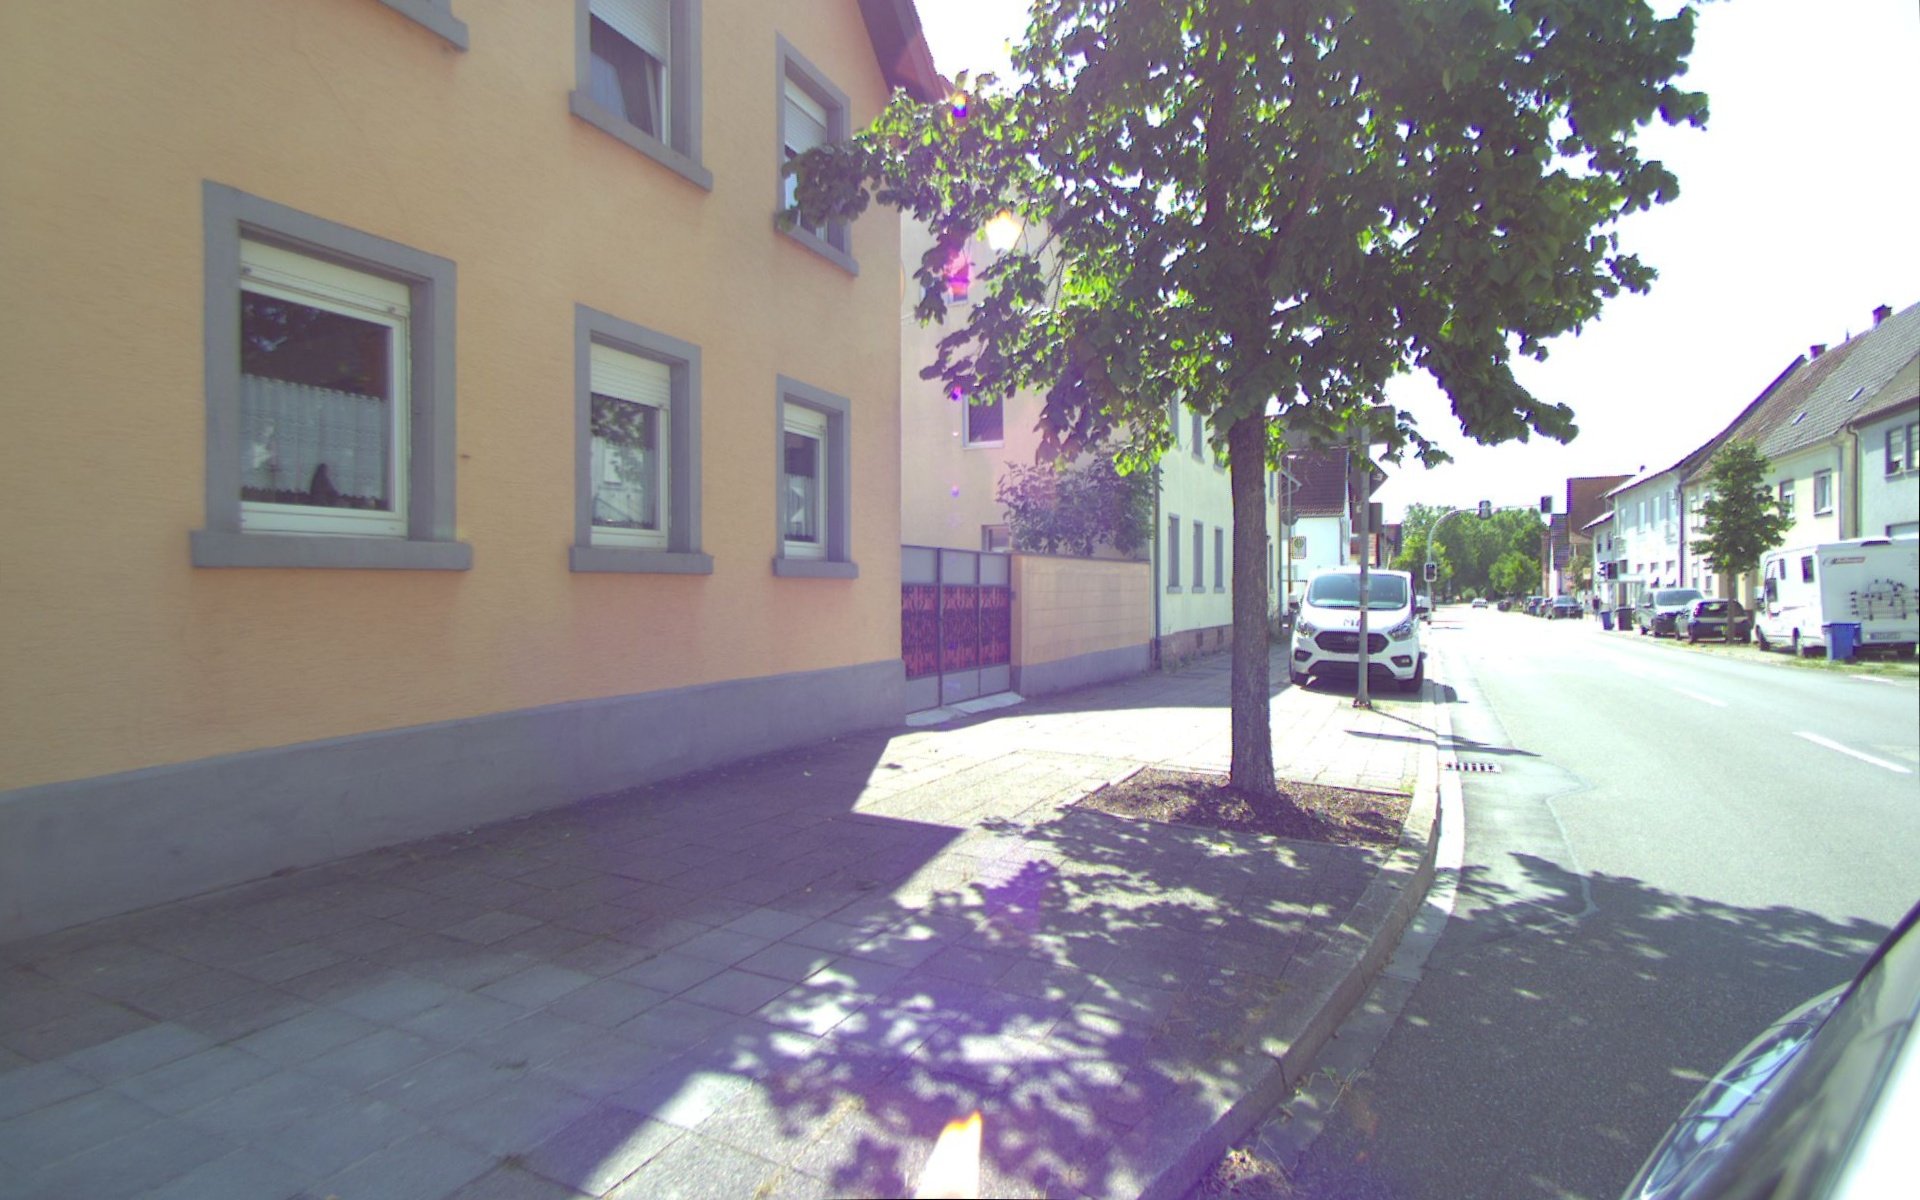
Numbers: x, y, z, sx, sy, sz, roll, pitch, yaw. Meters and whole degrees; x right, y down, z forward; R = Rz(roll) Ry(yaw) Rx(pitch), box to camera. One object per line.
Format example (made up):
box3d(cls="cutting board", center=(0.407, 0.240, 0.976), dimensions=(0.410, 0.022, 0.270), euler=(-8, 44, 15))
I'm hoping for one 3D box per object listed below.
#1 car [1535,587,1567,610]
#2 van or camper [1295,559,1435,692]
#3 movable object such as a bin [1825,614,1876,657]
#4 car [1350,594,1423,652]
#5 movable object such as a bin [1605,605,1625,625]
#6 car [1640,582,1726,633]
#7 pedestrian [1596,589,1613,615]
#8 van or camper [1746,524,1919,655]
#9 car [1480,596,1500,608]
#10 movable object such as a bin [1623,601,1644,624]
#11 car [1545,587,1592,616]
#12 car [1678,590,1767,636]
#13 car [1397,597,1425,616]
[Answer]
box3d(cls="car", center=(48.685, -0.153, 83.434), dimensions=(1.981, 1.871, 4.910), euler=(0, 1, 27))
box3d(cls="van or camper", center=(7.230, 0.341, 17.863), dimensions=(1.978, 1.978, 5.302), euler=(0, 1, 24))
box3d(cls="movable object such as a bin", center=(18.836, 0.739, 21.412), dimensions=(0.638, 0.883, 0.608), euler=(-1, 0, 25))
box3d(cls="car", center=(11.657, 0.564, 27.589), dimensions=(1.715, 1.445, 3.953), euler=(0, 1, 24))
box3d(cls="movable object such as a bin", center=(31.247, 0.729, 48.299), dimensions=(0.711, 0.924, 0.546), euler=(-1, 0, 24))
box3d(cls="car", center=(28.301, 0.253, 39.776), dimensions=(1.981, 1.871, 4.910), euler=(-1, 0, 27))
box3d(cls="pedestrian", center=(38.157, 0.115, 59.909), dimensions=(0.745, 1.551, 0.576), euler=(-1, 0, 25))
box3d(cls="van or camper", center=(22.726, -0.249, 26.052), dimensions=(2.428, 2.941, 7.005), euler=(-1, 0, 26))
box3d(cls="car", center=(69.607, 0.224, 132.861), dimensions=(1.986, 1.549, 3.952), euler=(-1, 0, 33))
box3d(cls="movable object such as a bin", center=(31.167, 0.577, 46.838), dimensions=(0.711, 1.080, 0.546), euler=(-1, 0, 24))
box3d(cls="car", center=(41.525, 0.050, 69.174), dimensions=(2.334, 1.871, 4.911), euler=(0, 1, 26))
box3d(cls="car", center=(25.904, 0.416, 34.494), dimensions=(1.673, 1.501, 3.587), euler=(-1, 0, 25))
box3d(cls="car", center=(36.408, 0.514, 81.762), dimensions=(1.978, 1.505, 3.967), euler=(-1, 0, 24))
